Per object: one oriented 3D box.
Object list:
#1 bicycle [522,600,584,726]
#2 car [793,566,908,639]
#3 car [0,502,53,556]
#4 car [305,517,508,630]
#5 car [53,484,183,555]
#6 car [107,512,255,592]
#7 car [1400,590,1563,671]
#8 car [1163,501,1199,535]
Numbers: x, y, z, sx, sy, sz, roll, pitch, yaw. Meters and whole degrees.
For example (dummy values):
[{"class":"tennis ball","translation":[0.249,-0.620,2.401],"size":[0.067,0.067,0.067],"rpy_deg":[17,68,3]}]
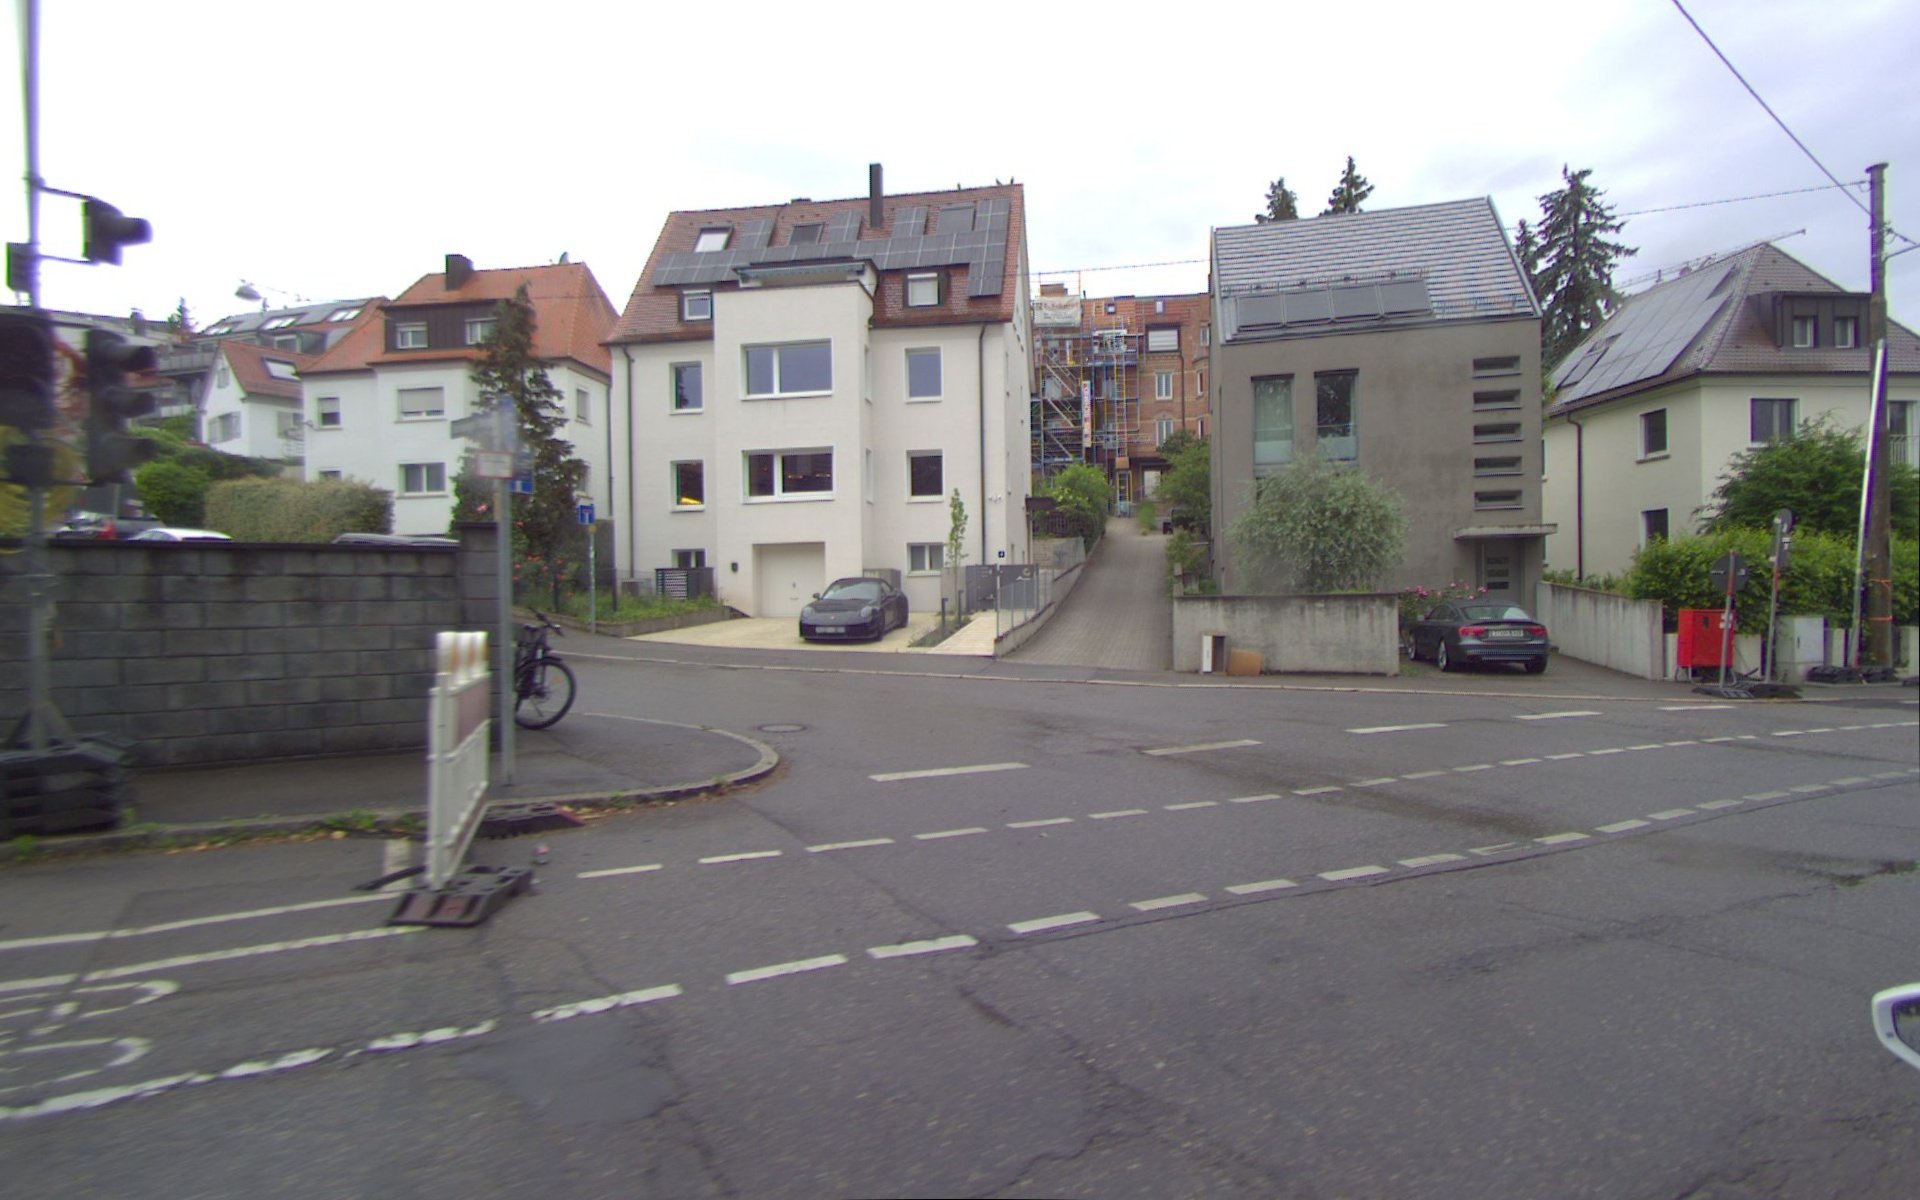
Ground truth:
[{"class":"bicycle","translation":[-4.199,0.609,10.320],"size":[0.457,1.139,1.508],"rpy_deg":[2,1,-26]},{"class":"car","translation":[-2.443,0.016,23.366],"size":[1.700,1.528,3.820],"rpy_deg":[1,1,9]},{"class":"car","translation":[-35.301,-2.677,36.985],"size":[3.932,1.769,1.864],"rpy_deg":[6,3,33]},{"class":"car","translation":[-11.428,-0.567,20.682],"size":[3.932,1.945,1.995],"rpy_deg":[6,3,33]},{"class":"car","translation":[-24.849,-2.391,29.609],"size":[3.932,1.769,1.864],"rpy_deg":[6,3,33]},{"class":"car","translation":[-20.562,-1.267,26.485],"size":[3.932,1.769,1.864],"rpy_deg":[6,3,33]},{"class":"car","translation":[10.492,0.534,20.544],"size":[1.802,1.463,4.002],"rpy_deg":[0,1,9]},{"class":"car","translation":[11.780,-4.325,53.451],"size":[1.746,1.483,3.618],"rpy_deg":[0,0,14]}]
